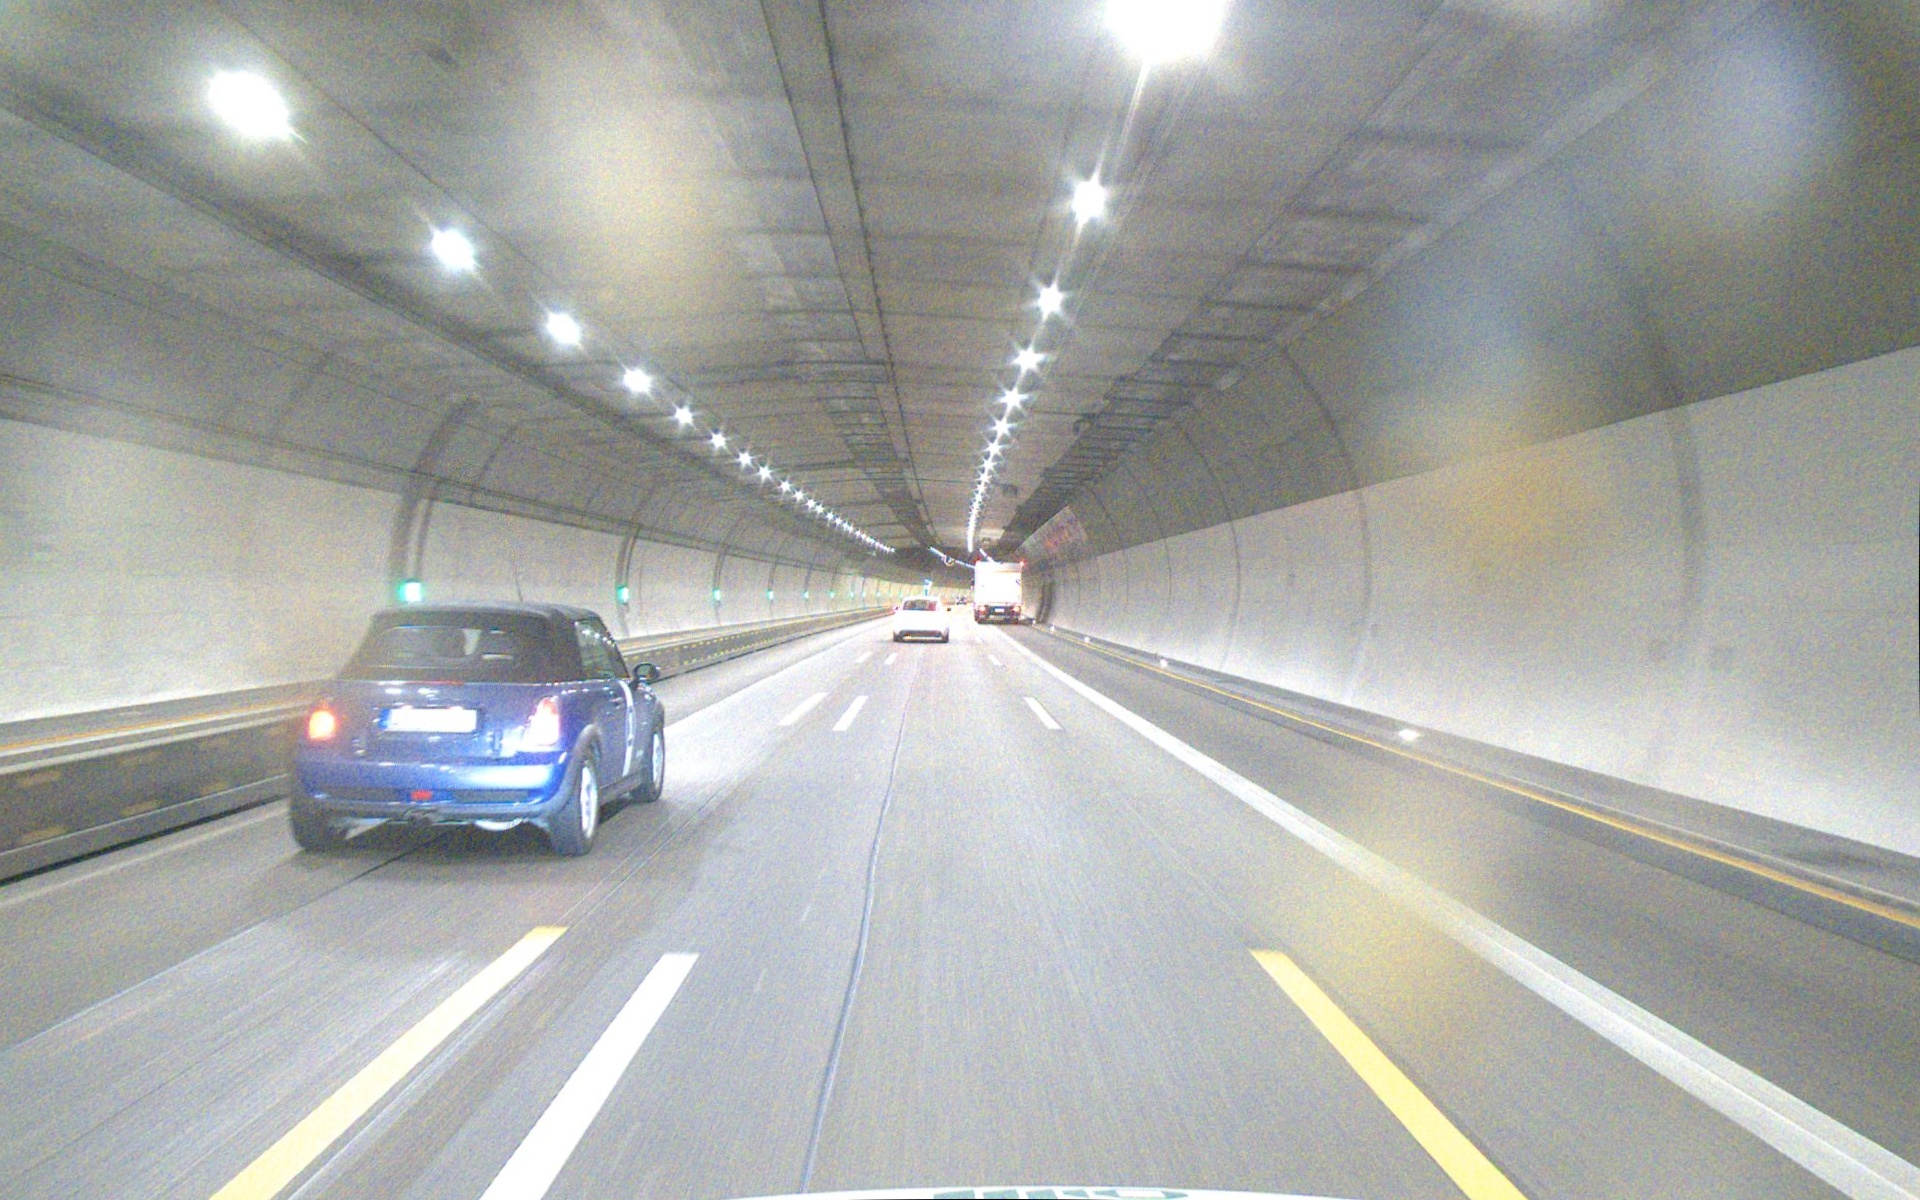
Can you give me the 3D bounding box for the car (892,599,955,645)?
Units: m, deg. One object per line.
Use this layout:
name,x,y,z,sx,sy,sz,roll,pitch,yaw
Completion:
car,-1.230,0.695,54.651,1.953,1.437,4.740,1,0,-2

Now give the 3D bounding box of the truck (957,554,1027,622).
truck,1.764,-0.671,97.145,3.520,3.714,10.718,1,0,-2

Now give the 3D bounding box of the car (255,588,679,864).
car,-2.943,0.668,10.738,1.655,1.442,3.921,1,0,-2
